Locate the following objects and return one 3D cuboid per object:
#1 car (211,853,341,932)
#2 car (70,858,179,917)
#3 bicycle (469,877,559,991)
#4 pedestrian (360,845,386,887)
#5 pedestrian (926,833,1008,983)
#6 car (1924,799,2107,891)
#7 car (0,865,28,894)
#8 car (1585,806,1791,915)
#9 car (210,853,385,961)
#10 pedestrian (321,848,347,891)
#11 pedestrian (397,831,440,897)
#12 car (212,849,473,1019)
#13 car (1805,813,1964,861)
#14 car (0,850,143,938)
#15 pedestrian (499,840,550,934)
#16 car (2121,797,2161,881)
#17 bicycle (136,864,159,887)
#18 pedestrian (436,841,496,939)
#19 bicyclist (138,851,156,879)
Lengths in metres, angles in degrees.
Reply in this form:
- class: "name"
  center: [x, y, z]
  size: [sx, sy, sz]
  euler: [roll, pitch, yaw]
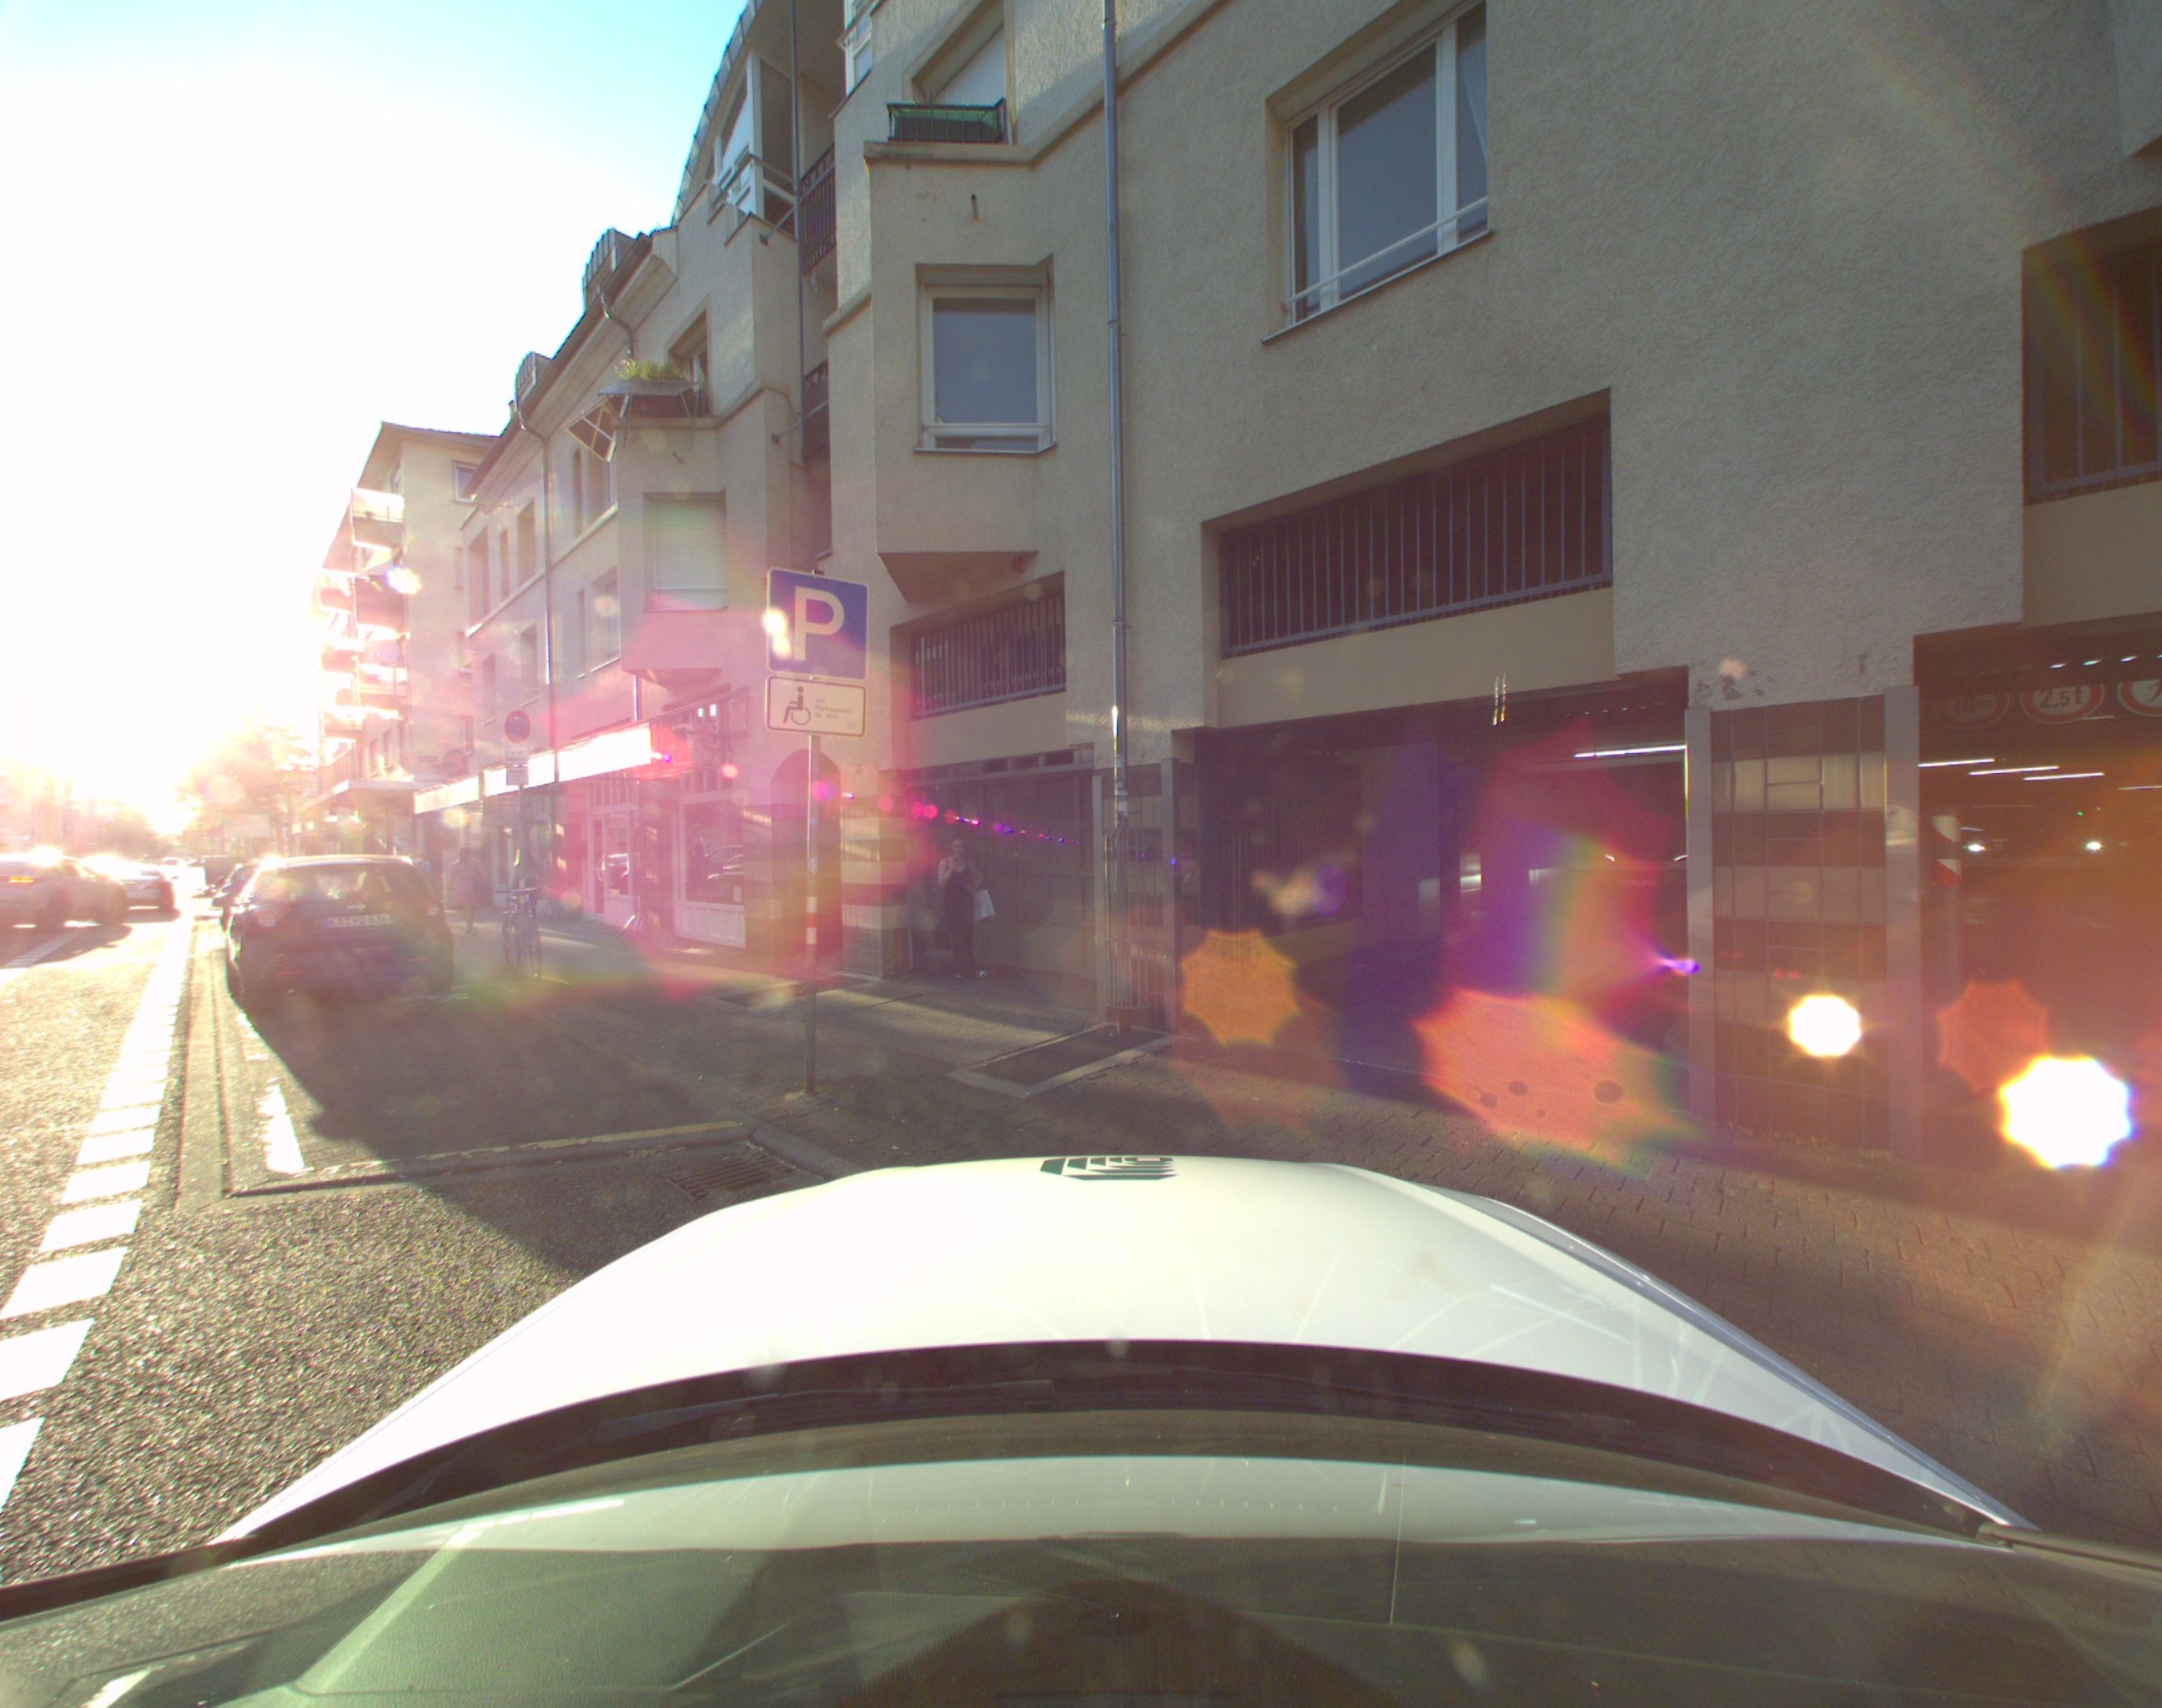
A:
- class: "car"
  center: [-18.503, 0.798, 18.670]
  size: [3.739, 1.580, 1.806]
  euler: [0, 1, 41]
- class: "car"
  center: [-28.820, 0.931, 24.654]
  size: [4.349, 1.604, 2.012]
  euler: [0, 0, 42]
- class: "bicycle"
  center: [-6.980, 0.917, 9.988]
  size: [0.563, 1.206, 1.953]
  euler: [-2, 1, -45]
- class: "pedestrian"
  center: [-30.422, 0.512, 35.012]
  size: [0.658, 1.791, 0.725]
  euler: [0, 2, 43]
- class: "pedestrian"
  center: [-1.255, 0.560, 8.925]
  size: [0.778, 1.572, 0.530]
  euler: [-1, 1, -20]
- class: "car"
  center: [18.733, -0.224, 16.540]
  size: [1.867, 1.624, 4.327]
  euler: [0, 2, 41]
- class: "car"
  center: [-55.415, 1.273, 40.932]
  size: [3.441, 1.454, 1.689]
  euler: [0, 0, 12]
- class: "car"
  center: [10.477, 0.028, 13.943]
  size: [4.272, 1.572, 1.798]
  euler: [-3, 1, -39]
- class: "car"
  center: [-13.585, 0.790, 14.057]
  size: [3.739, 1.580, 1.806]
  euler: [0, 1, 41]
- class: "pedestrian"
  center: [-31.942, 0.645, 34.838]
  size: [0.658, 1.791, 0.725]
  euler: [0, 2, 43]
- class: "pedestrian"
  center: [-17.725, 0.257, 21.786]
  size: [0.728, 1.733, 0.725]
  euler: [0, 2, 43]
- class: "car"
  center: [-8.875, 0.758, 9.684]
  size: [3.916, 1.580, 1.806]
  euler: [0, 1, 41]
- class: "car"
  center: [25.604, -0.569, 26.142]
  size: [1.595, 1.391, 3.889]
  euler: [-2, 2, 7]
- class: "car"
  center: [-22.374, 0.775, 17.370]
  size: [1.885, 1.697, 4.277]
  euler: [0, 0, -32]
- class: "pedestrian"
  center: [-10.469, 0.594, 15.318]
  size: [0.821, 1.700, 0.565]
  euler: [-1, 1, 42]
- class: "car"
  center: [21.673, -0.305, 15.451]
  size: [1.540, 1.617, 3.906]
  euler: [-1, 2, 39]
- class: "bicycle"
  center: [-52.641, 1.211, 45.952]
  size: [0.669, 1.243, 2.104]
  euler: [1, -1, -44]
- class: "pedestrian"
  center: [-11.202, 0.622, 14.824]
  size: [1.027, 1.700, 0.636]
  euler: [-1, 1, 42]
- class: "bicyclist"
  center: [-52.666, 0.611, 45.944]
  size: [0.552, 1.580, 0.793]
  euler: [-2, 1, -44]
